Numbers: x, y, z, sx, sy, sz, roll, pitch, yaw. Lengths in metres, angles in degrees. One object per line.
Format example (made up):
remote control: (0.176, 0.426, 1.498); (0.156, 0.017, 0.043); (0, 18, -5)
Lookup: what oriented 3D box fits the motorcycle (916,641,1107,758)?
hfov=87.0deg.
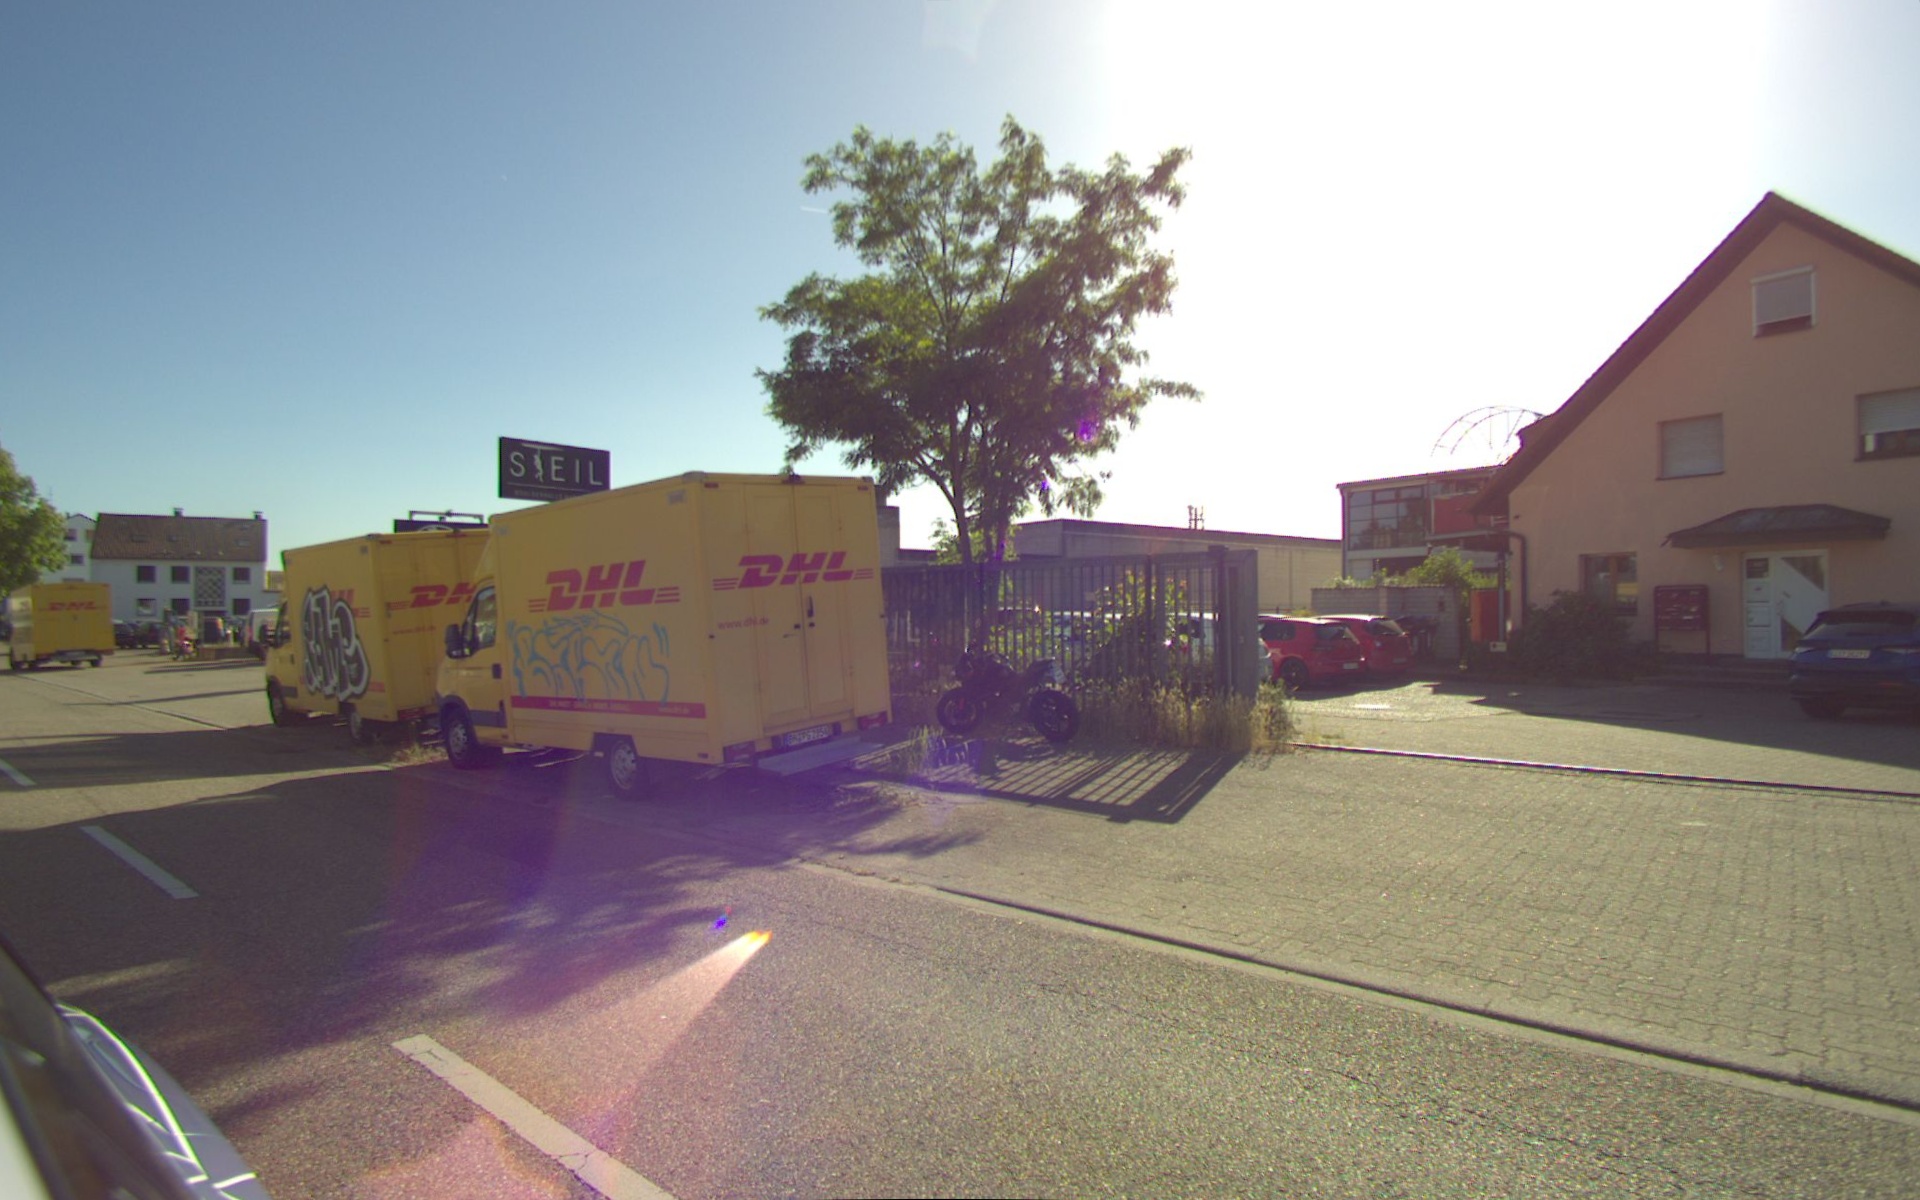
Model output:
motorcycle: (0.547, 1.079, 11.544); (2.175, 1.190, 0.747); (-2, -2, 41)

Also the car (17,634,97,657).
car: (-66.651, 3.343, 74.729); (1.764, 1.598, 4.206); (-2, -1, 40)

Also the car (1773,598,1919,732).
car: (13.438, 0.792, 13.471); (3.933, 1.629, 2.005); (-1, -3, -14)

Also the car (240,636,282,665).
car: (-40.474, 2.942, 58.573); (1.753, 1.557, 4.172); (0, -3, -38)

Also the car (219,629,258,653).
car: (-49.130, 2.788, 68.909); (1.644, 1.576, 3.853); (0, -2, -43)

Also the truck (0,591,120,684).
truck: (-32.318, 1.285, 36.058); (7.239, 3.005, 2.379); (-2, 0, 40)

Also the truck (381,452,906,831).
truck: (-3.681, 0.384, 10.725); (6.433, 2.924, 2.170); (-2, -1, 40)

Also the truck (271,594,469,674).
truck: (-21.112, 1.147, 36.363); (5.845, 2.587, 2.228); (-1, -1, -38)

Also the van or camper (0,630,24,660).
van or camper: (-76.548, 3.556, 79.099); (4.830, 2.338, 2.248); (0, -1, -39)

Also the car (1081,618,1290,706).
car: (4.455, 1.189, 20.524); (1.671, 1.590, 4.054); (0, -2, -35)

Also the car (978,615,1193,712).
car: (2.206, 1.103, 18.815); (1.671, 1.590, 4.054); (0, -2, -35)

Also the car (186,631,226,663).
car: (-43.160, 2.692, 57.914); (1.753, 1.762, 4.172); (0, -3, -38)

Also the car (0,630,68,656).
car: (-65.209, 2.981, 70.678); (1.766, 1.766, 4.201); (-2, -2, 44)

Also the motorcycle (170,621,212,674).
motorcycle: (-29.560, 1.825, 38.871); (3.041, 1.887, 0.772); (-3, 0, 45)

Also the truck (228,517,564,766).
truck: (-8.696, 0.547, 15.237); (6.371, 3.005, 2.378); (-2, 0, 41)

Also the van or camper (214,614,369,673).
van or camper: (-24.627, 1.565, 37.366); (4.489, 2.029, 2.253); (1, -2, -43)

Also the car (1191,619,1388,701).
car: (6.866, 1.206, 21.500); (1.628, 1.547, 3.885); (0, -1, -29)

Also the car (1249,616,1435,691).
car: (8.619, 1.173, 23.174); (1.537, 1.547, 3.885); (0, -1, -29)

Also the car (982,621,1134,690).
car: (2.397, 1.351, 25.686); (1.671, 1.590, 3.927); (0, -2, -35)

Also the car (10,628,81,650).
car: (-68.063, 2.878, 75.366); (1.547, 1.553, 3.765); (-2, -1, 41)
